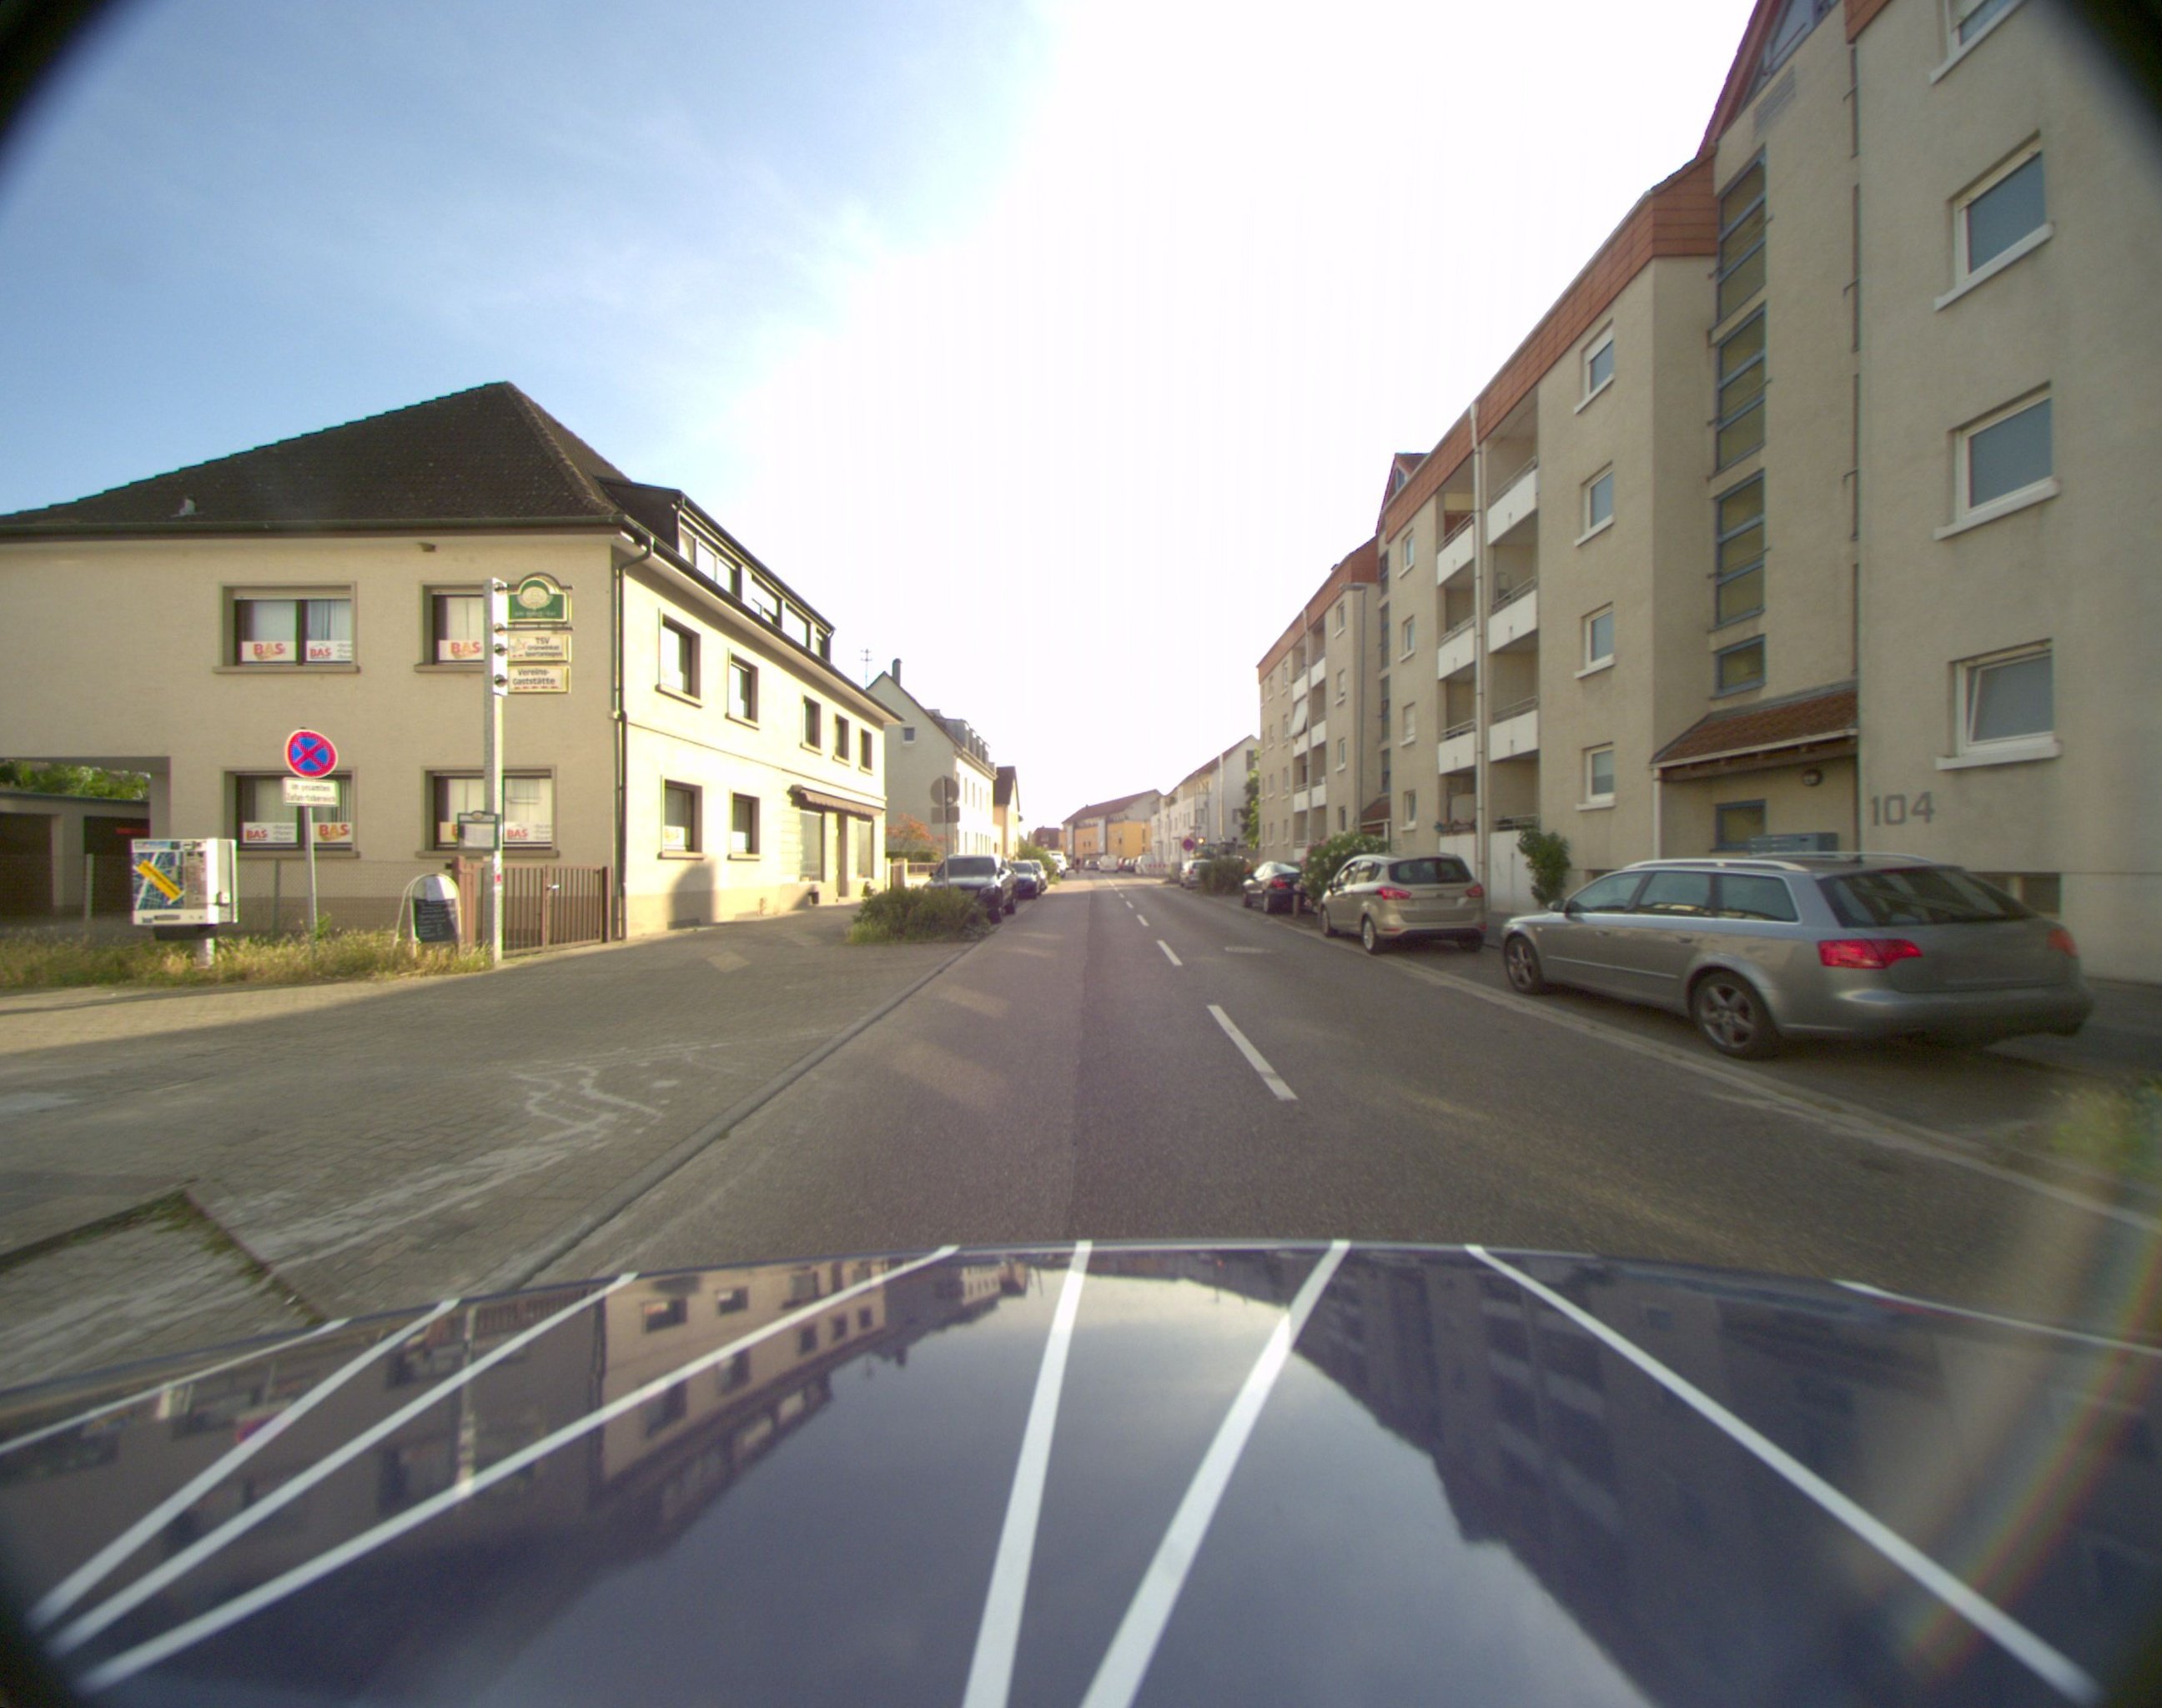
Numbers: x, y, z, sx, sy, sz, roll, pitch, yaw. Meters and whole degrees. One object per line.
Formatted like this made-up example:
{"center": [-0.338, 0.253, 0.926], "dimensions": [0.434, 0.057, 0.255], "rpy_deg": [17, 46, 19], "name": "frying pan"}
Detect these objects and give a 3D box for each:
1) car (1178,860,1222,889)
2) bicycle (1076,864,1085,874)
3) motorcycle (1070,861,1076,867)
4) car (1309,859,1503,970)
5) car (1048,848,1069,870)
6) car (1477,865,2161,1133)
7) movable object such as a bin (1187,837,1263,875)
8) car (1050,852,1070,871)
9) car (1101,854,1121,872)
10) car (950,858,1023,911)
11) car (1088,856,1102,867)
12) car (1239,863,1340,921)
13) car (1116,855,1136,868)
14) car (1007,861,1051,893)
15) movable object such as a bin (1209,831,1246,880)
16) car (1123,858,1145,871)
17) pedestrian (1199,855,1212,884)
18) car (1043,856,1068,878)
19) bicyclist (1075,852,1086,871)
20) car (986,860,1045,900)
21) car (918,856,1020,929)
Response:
{"center": [6.142, 1.020, 39.619], "dimensions": [1.644, 1.387, 3.671], "rpy_deg": [-1, 0, -1], "name": "car"}
{"center": [-0.066, 1.275, 66.640], "dimensions": [0.680, 0.849, 2.026], "rpy_deg": [0, 0, -3], "name": "bicycle"}
{"center": [-1.523, 1.900, 143.219], "dimensions": [0.584, 1.175, 1.875], "rpy_deg": [-1, 0, -20], "name": "motorcycle"}
{"center": [5.292, 0.889, 12.970], "dimensions": [1.731, 1.546, 3.966], "rpy_deg": [-2, 0, 3], "name": "car"}
{"center": [-2.391, 0.539, 80.753], "dimensions": [2.180, 2.313, 4.997], "rpy_deg": [1, -1, -2], "name": "car"}
{"center": [5.553, 0.886, 6.676], "dimensions": [1.812, 1.512, 4.370], "rpy_deg": [-1, 0, -1], "name": "car"}
{"center": [11.464, 0.175, 60.533], "dimensions": [5.516, 2.883, 2.110], "rpy_deg": [-1, 0, -11], "name": "movable object such as a bin"}
{"center": [-2.035, 0.770, 74.303], "dimensions": [1.782, 1.731, 4.483], "rpy_deg": [2, 0, -1], "name": "car"}
{"center": [3.205, 0.931, 80.711], "dimensions": [1.927, 1.756, 4.338], "rpy_deg": [1, 0, 0], "name": "car"}
{"center": [-2.969, 0.915, 24.734], "dimensions": [1.834, 1.551, 4.317], "rpy_deg": [0, 0, 0], "name": "car"}
{"center": [1.872, 1.050, 101.997], "dimensions": [1.622, 1.446, 3.685], "rpy_deg": [0, 0, -1], "name": "car"}
{"center": [5.716, 0.993, 21.325], "dimensions": [1.690, 1.397, 4.084], "rpy_deg": [-1, 0, 0], "name": "car"}
{"center": [5.537, 0.903, 93.476], "dimensions": [1.732, 1.612, 4.261], "rpy_deg": [0, 0, -7], "name": "car"}
{"center": [-2.424, 1.048, 36.184], "dimensions": [1.784, 1.411, 4.496], "rpy_deg": [0, 0, 0], "name": "car"}
{"center": [9.598, 0.128, 50.123], "dimensions": [1.652, 3.119, 3.900], "rpy_deg": [0, 0, -1], "name": "movable object such as a bin"}
{"center": [6.067, 1.190, 87.694], "dimensions": [1.732, 1.469, 4.261], "rpy_deg": [-2, 0, -7], "name": "car"}
{"center": [7.731, 0.970, 47.184], "dimensions": [0.720, 1.808, 0.745], "rpy_deg": [-1, 0, 1], "name": "pedestrian"}
{"center": [-1.999, 0.995, 61.260], "dimensions": [1.817, 1.674, 4.476], "rpy_deg": [1, 0, 1], "name": "car"}
{"center": [-0.057, 0.657, 66.687], "dimensions": [0.845, 1.679, 0.877], "rpy_deg": [-1, 0, -3], "name": "bicyclist"}
{"center": [-2.486, 0.953, 29.794], "dimensions": [1.834, 1.412, 4.609], "rpy_deg": [0, 0, 1], "name": "car"}
{"center": [-2.674, 0.860, 19.130], "dimensions": [1.834, 1.620, 4.463], "rpy_deg": [0, 0, 1], "name": "car"}
